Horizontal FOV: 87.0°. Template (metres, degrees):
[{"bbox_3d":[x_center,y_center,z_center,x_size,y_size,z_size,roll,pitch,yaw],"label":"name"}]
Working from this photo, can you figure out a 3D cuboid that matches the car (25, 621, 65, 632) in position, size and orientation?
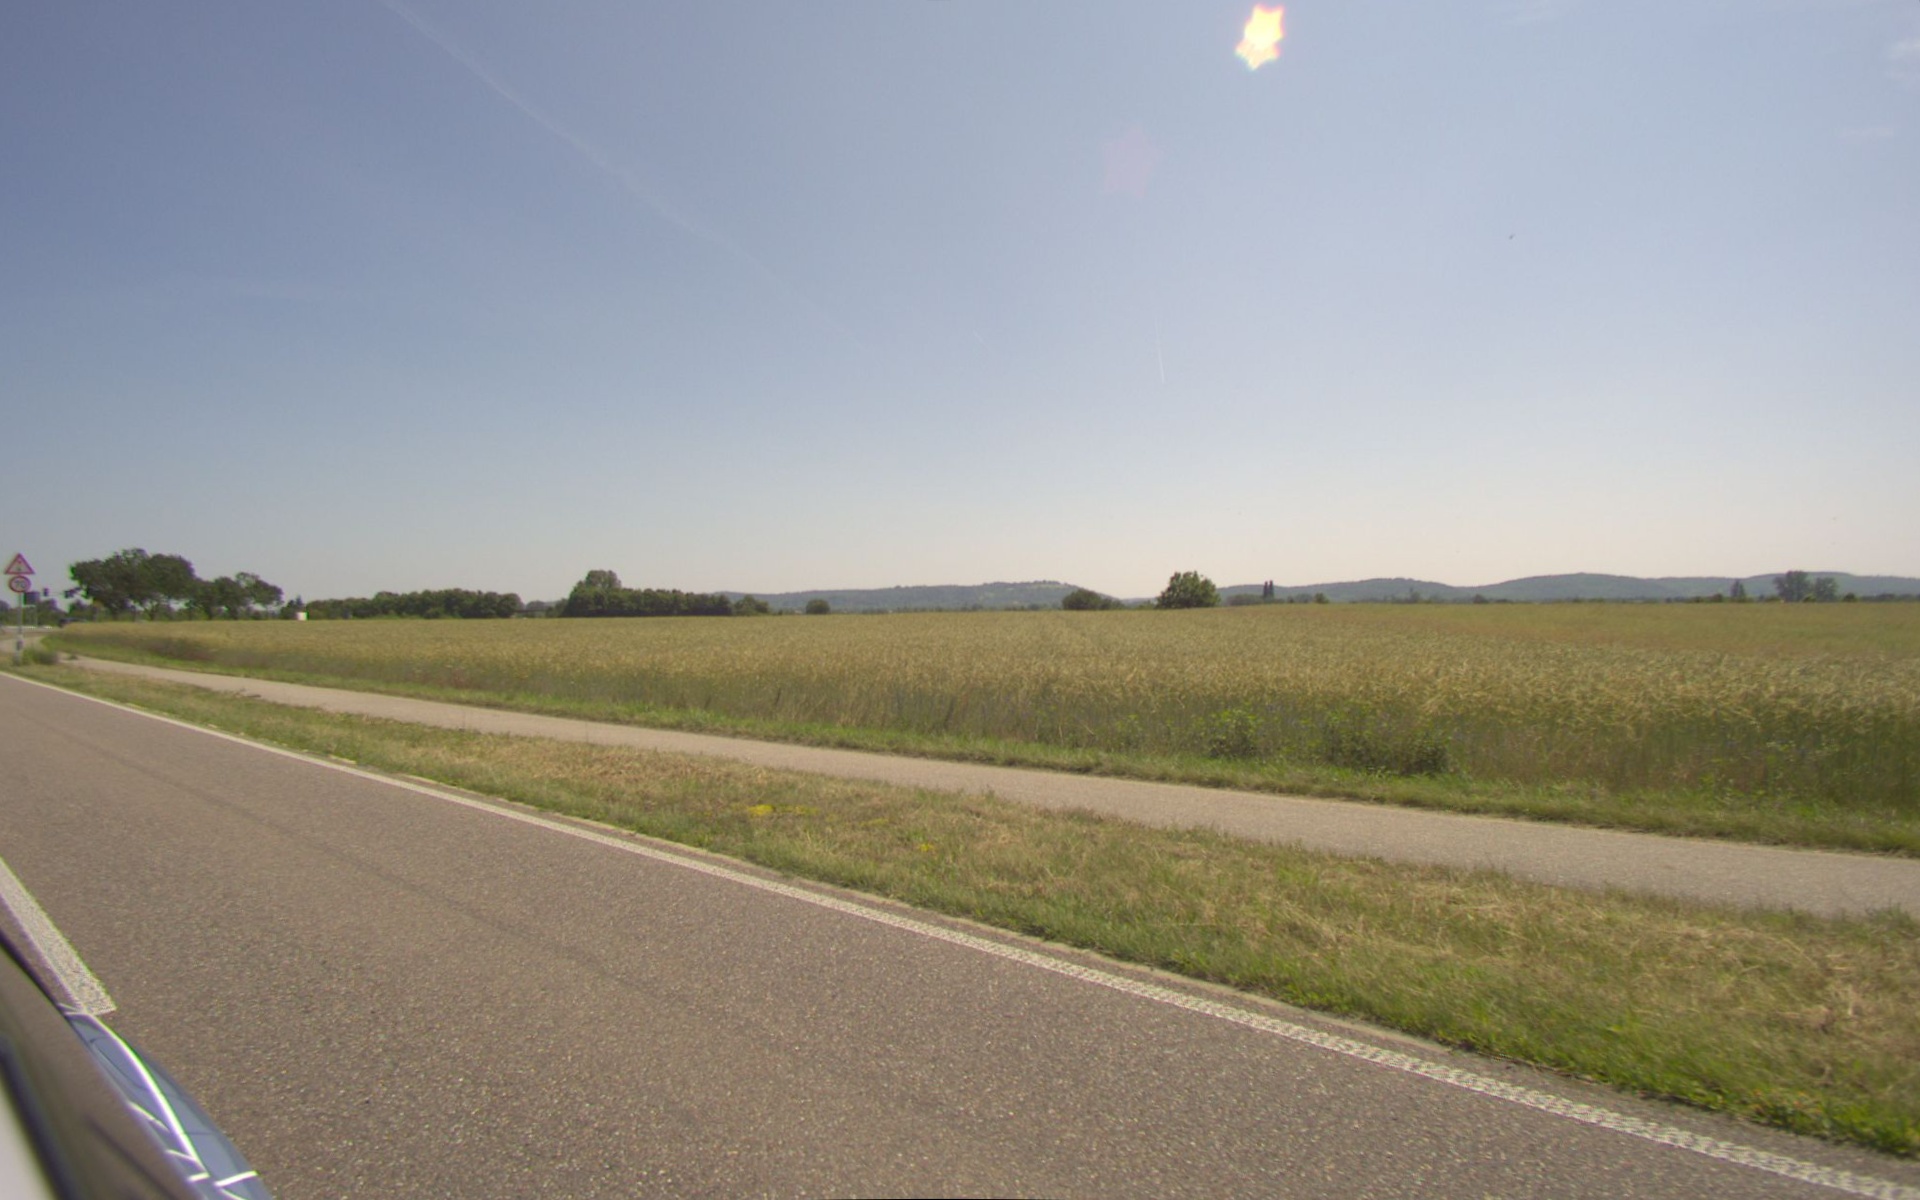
[{"bbox_3d":[-145.919,4.255,161.405,1.809,1.653,4.475,0,-1,33],"label":"car"}]
